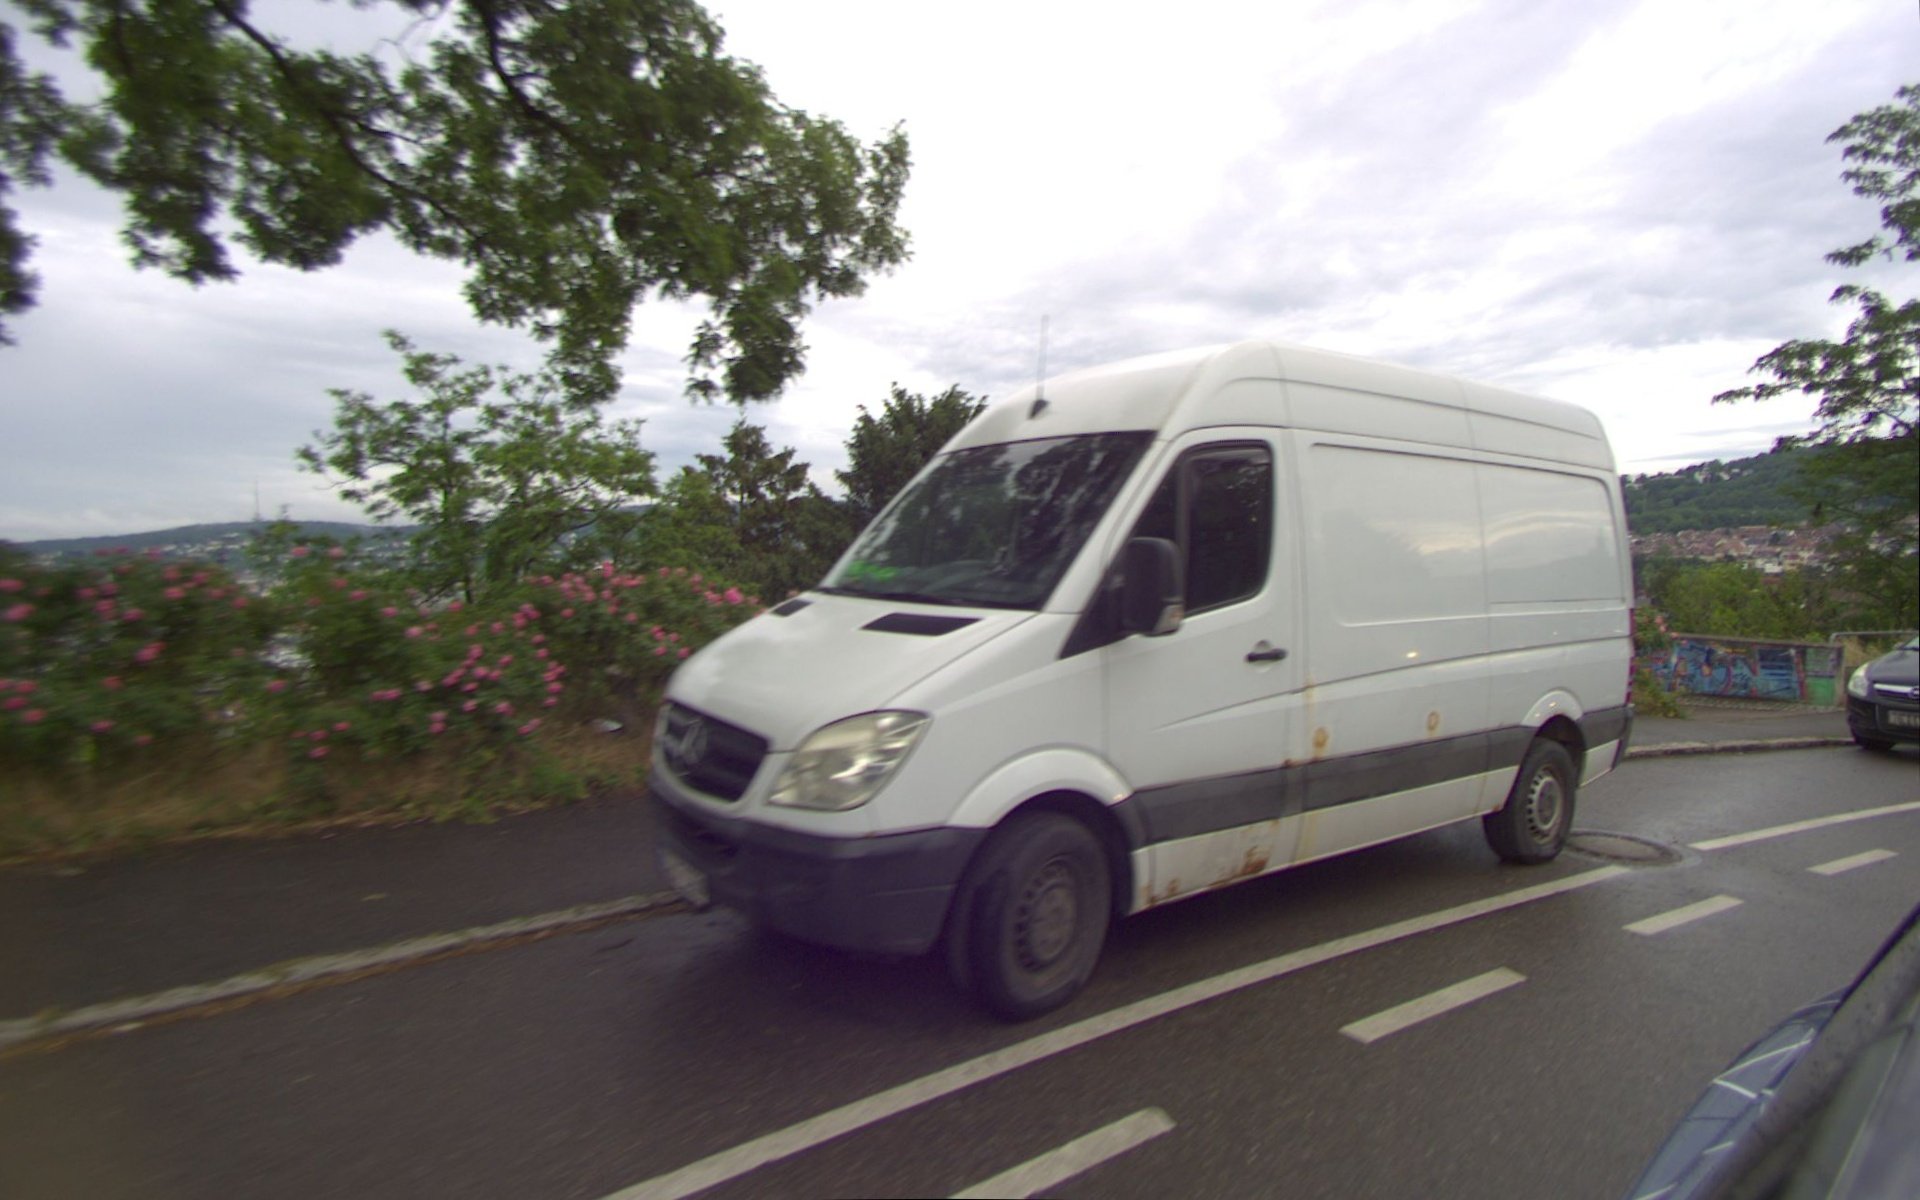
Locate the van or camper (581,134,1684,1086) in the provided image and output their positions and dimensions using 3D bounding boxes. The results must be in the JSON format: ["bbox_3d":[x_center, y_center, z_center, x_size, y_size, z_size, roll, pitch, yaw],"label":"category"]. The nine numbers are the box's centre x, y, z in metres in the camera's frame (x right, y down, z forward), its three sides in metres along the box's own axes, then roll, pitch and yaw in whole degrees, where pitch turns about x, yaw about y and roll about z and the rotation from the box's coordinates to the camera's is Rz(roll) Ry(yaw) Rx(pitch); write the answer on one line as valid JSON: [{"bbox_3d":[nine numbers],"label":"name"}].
[{"bbox_3d":[1.301,0.013,5.271,5.774,2.612,2.075,1,2,-34],"label":"van or camper"}]

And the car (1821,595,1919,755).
[{"bbox_3d":[10.619,0.726,9.844,3.864,1.462,1.704,1,-1,-19],"label":"car"}]
